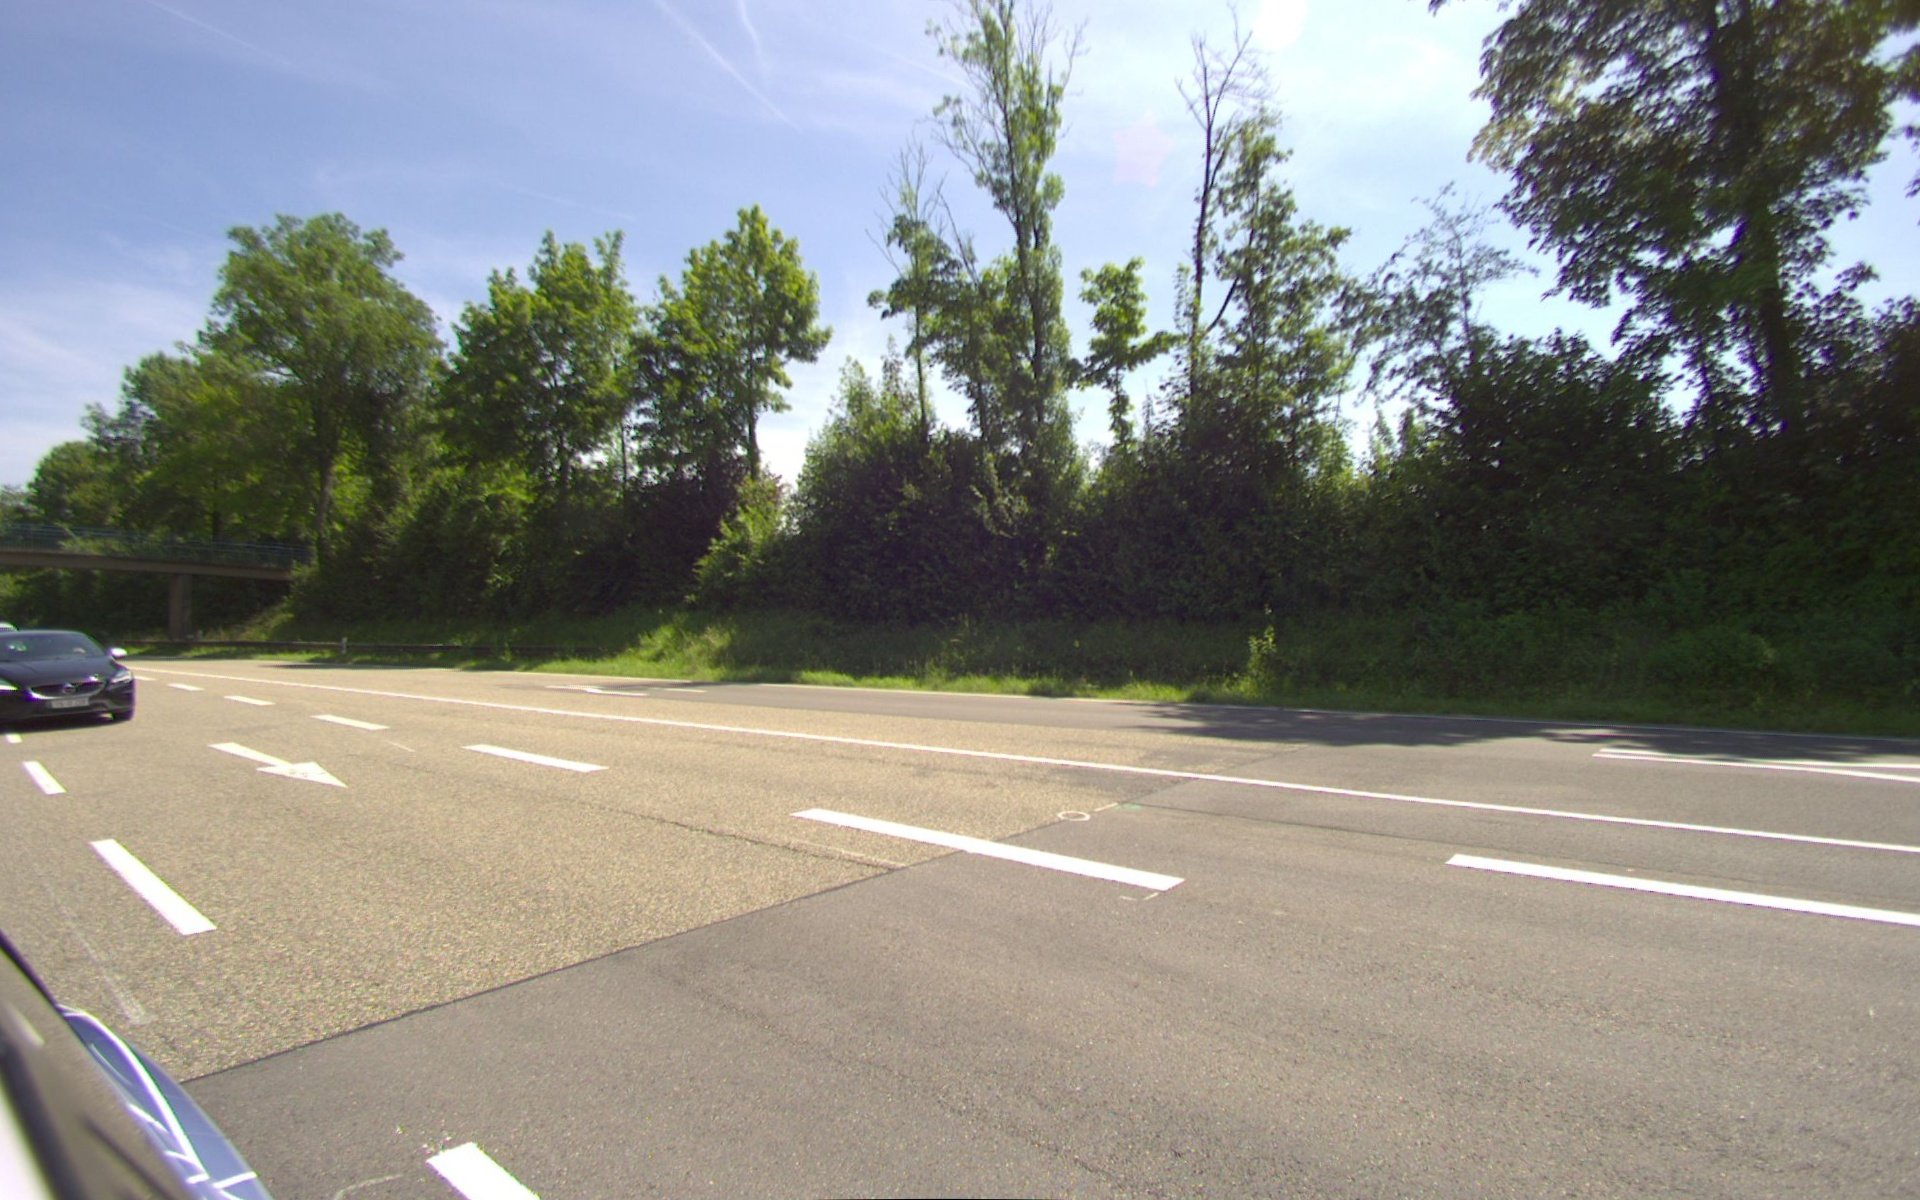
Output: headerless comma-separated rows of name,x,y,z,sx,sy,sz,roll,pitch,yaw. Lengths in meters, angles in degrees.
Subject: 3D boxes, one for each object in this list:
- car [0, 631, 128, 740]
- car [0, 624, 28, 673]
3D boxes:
car,-14.107,1.200,15.384,4.403,1.409,1.667,-1,-1,43
car,-35.190,1.772,36.524,4.289,1.682,1.786,-2,-1,41
